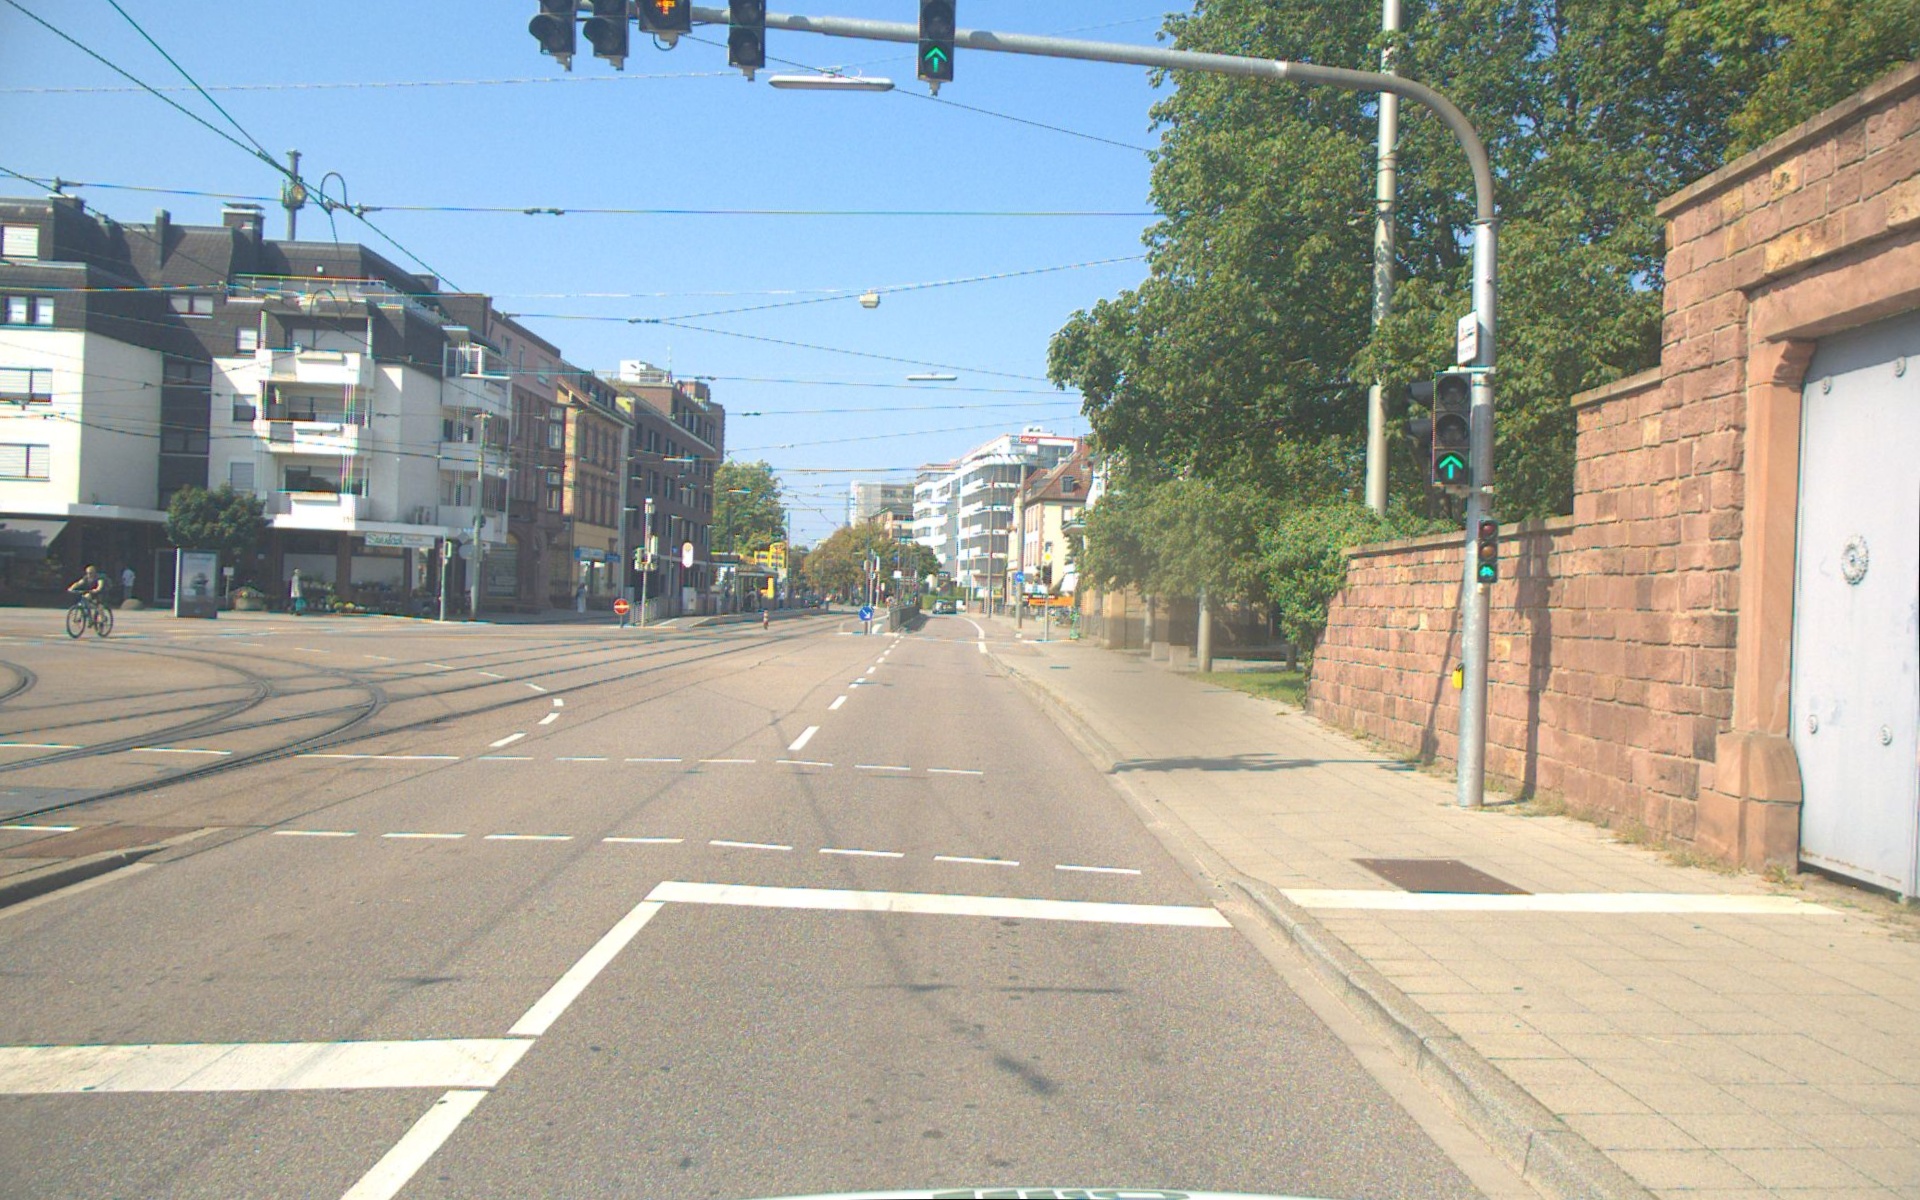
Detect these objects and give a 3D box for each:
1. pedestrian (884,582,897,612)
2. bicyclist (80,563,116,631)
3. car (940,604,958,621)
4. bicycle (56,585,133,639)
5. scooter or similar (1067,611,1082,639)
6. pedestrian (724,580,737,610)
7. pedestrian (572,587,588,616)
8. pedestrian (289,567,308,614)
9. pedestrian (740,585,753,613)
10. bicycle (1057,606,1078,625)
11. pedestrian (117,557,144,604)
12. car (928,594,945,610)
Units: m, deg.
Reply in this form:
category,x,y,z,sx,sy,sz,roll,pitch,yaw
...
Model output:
category,x,y,z,sx,sy,sz,roll,pitch,yaw
pedestrian,-4.042,-0.160,96.783,0.705,1.733,0.884,0,-1,0
bicyclist,-19.949,-0.067,38.270,0.556,1.549,0.490,0,-1,1
car,-1.219,1.410,189.180,1.970,1.891,4.000,0,0,1
bicycle,-19.949,0.268,38.173,0.563,1.200,2.208,0,0,1
scooter or similar,4.682,1.018,67.855,0.512,1.153,1.511,0,0,0
pedestrian,-13.576,-0.272,97.810,0.693,1.754,0.799,0,-1,0
pedestrian,-21.437,0.087,93.391,0.472,1.587,0.888,3,-1,11
pedestrian,-25.112,-0.342,62.794,0.593,1.776,0.559,0,-1,-34
pedestrian,-13.589,-0.092,105.281,0.693,1.778,0.799,0,-1,0
bicycle,6.411,0.917,99.040,0.717,1.152,2.835,-2,0,-7
pedestrian,-31.642,-0.742,63.103,0.665,1.771,0.698,0,-1,1
car,-2.784,0.197,195.410,1.970,1.891,4.000,0,0,1
